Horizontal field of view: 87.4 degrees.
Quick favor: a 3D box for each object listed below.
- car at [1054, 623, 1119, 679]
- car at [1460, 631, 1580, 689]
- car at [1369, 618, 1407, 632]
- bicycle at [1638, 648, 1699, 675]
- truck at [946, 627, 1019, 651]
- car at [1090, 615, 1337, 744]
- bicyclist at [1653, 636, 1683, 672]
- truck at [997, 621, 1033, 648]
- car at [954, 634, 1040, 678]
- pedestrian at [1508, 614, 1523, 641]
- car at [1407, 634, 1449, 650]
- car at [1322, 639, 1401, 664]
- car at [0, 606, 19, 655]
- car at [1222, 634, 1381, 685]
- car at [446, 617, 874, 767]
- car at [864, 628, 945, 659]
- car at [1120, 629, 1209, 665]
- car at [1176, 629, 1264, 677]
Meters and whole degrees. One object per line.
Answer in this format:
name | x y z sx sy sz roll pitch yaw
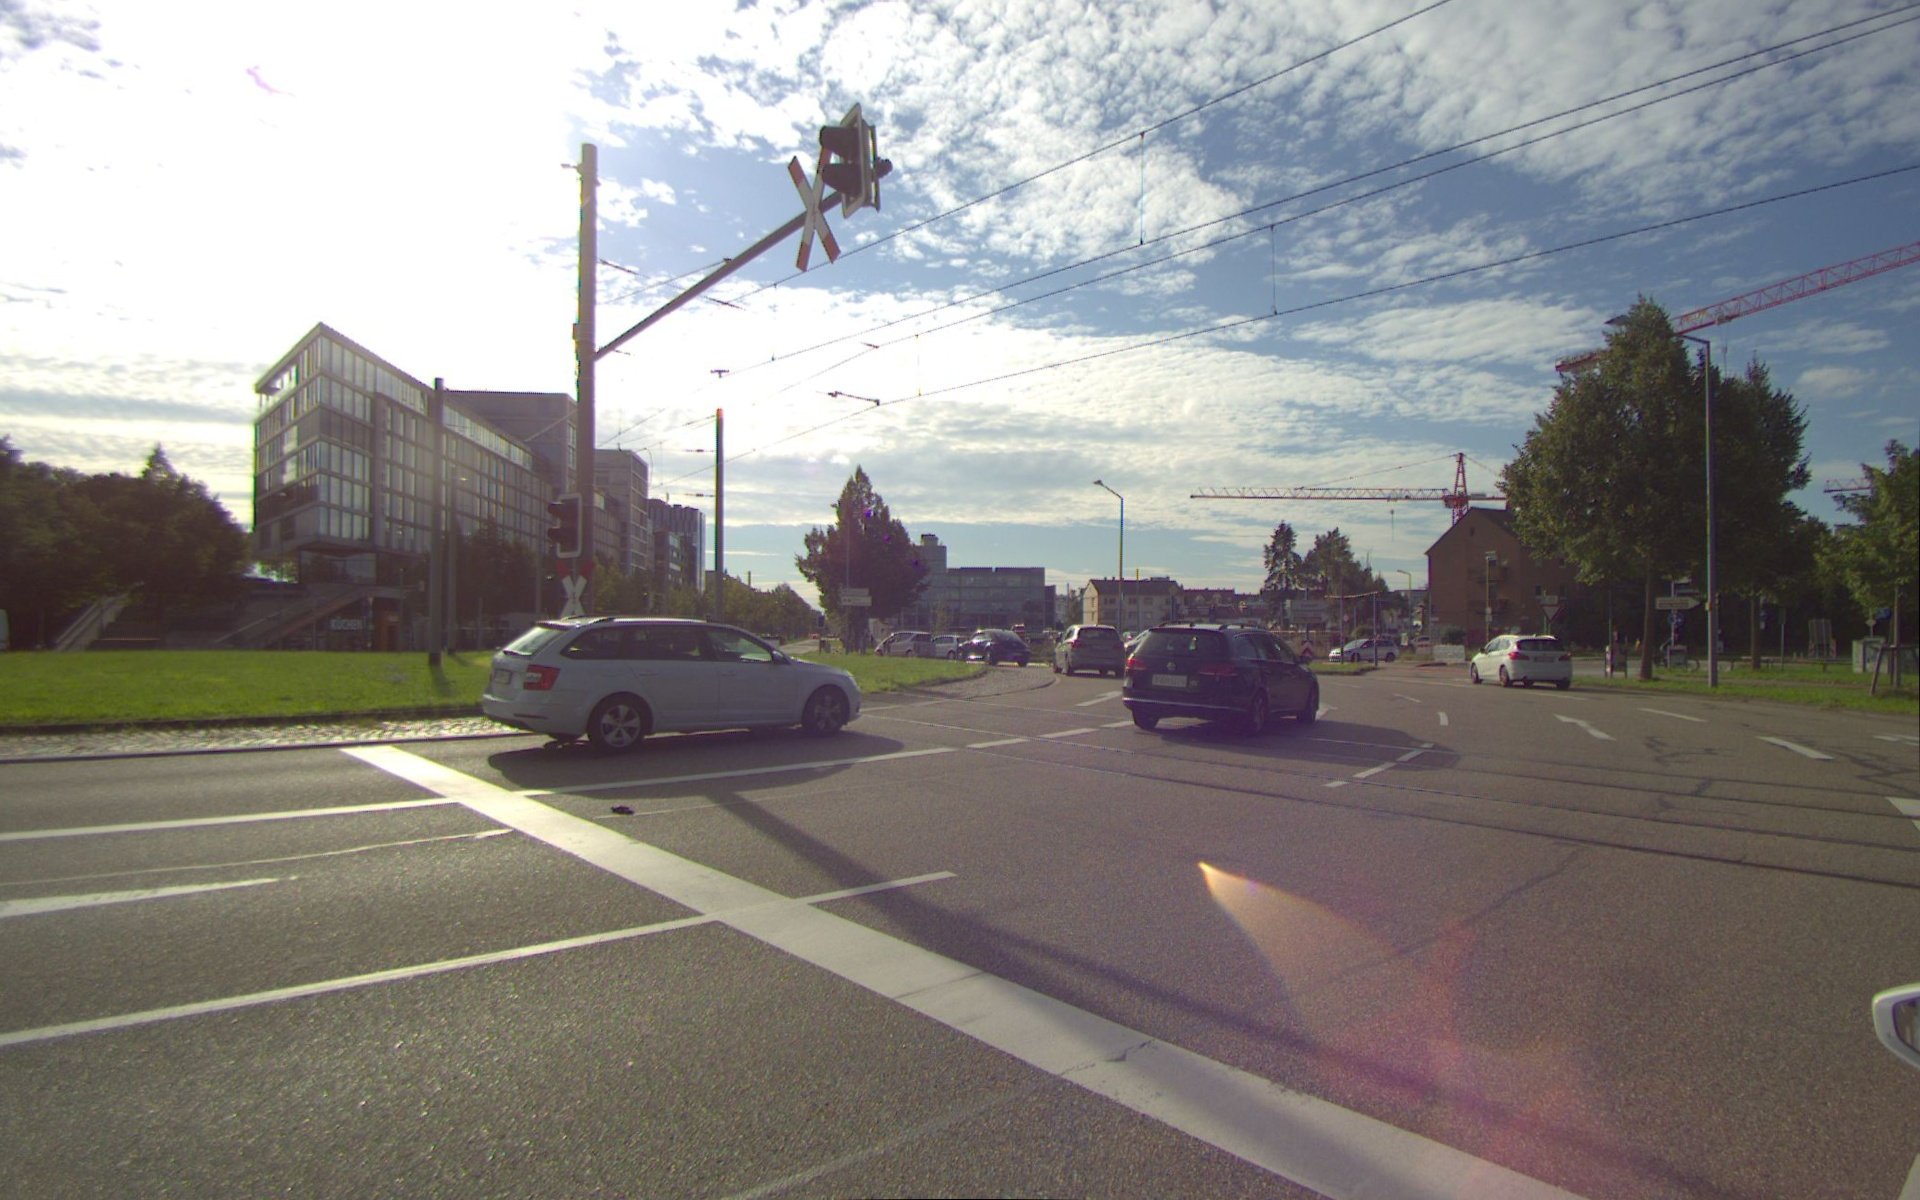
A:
car | 3.905 1.543 31.512 1.738 1.593 4.069 1 -1 3
car | 17.212 1.777 31.110 1.819 1.593 4.458 1 -1 9
car | 48.891 2.847 114.864 3.921 1.639 1.774 0 -2 19
bicycle | 32.219 2.771 45.699 0.765 1.152 2.128 1 -2 -36
truck | 2.500 4.406 112.734 7.716 2.601 3.070 1 -2 -9
car | 3.931 1.086 14.898 1.967 1.587 4.829 -1 -3 35
bicyclist | 32.217 2.445 45.712 0.765 1.595 0.950 1 -2 -37
truck | 6.802 4.359 125.985 2.767 3.249 7.301 1 -2 -12
car | 1.480 2.286 41.706 1.973 1.561 3.974 2 -1 -25
pedestrian | 38.926 1.946 70.400 0.829 1.895 0.661 2 -2 -43
car | 50.098 4.472 107.464 3.929 1.639 1.770 -1 -2 30
car | 24.231 3.101 60.624 4.477 1.471 1.814 1 -2 -23
car | -47.380 1.411 45.982 2.026 2.293 6.023 -3 -3 21
car | 11.153 1.906 33.053 1.889 1.450 4.600 2 -2 -44
car | -3.434 0.956 12.076 4.601 1.464 1.835 1 -1 -40
car | -3.011 2.309 53.732 4.392 1.497 1.846 0 -2 43
car | 11.577 2.653 56.939 4.576 1.928 1.899 1 -1 -9
car | 8.771 1.744 34.275 1.820 1.464 4.716 1 -1 0
